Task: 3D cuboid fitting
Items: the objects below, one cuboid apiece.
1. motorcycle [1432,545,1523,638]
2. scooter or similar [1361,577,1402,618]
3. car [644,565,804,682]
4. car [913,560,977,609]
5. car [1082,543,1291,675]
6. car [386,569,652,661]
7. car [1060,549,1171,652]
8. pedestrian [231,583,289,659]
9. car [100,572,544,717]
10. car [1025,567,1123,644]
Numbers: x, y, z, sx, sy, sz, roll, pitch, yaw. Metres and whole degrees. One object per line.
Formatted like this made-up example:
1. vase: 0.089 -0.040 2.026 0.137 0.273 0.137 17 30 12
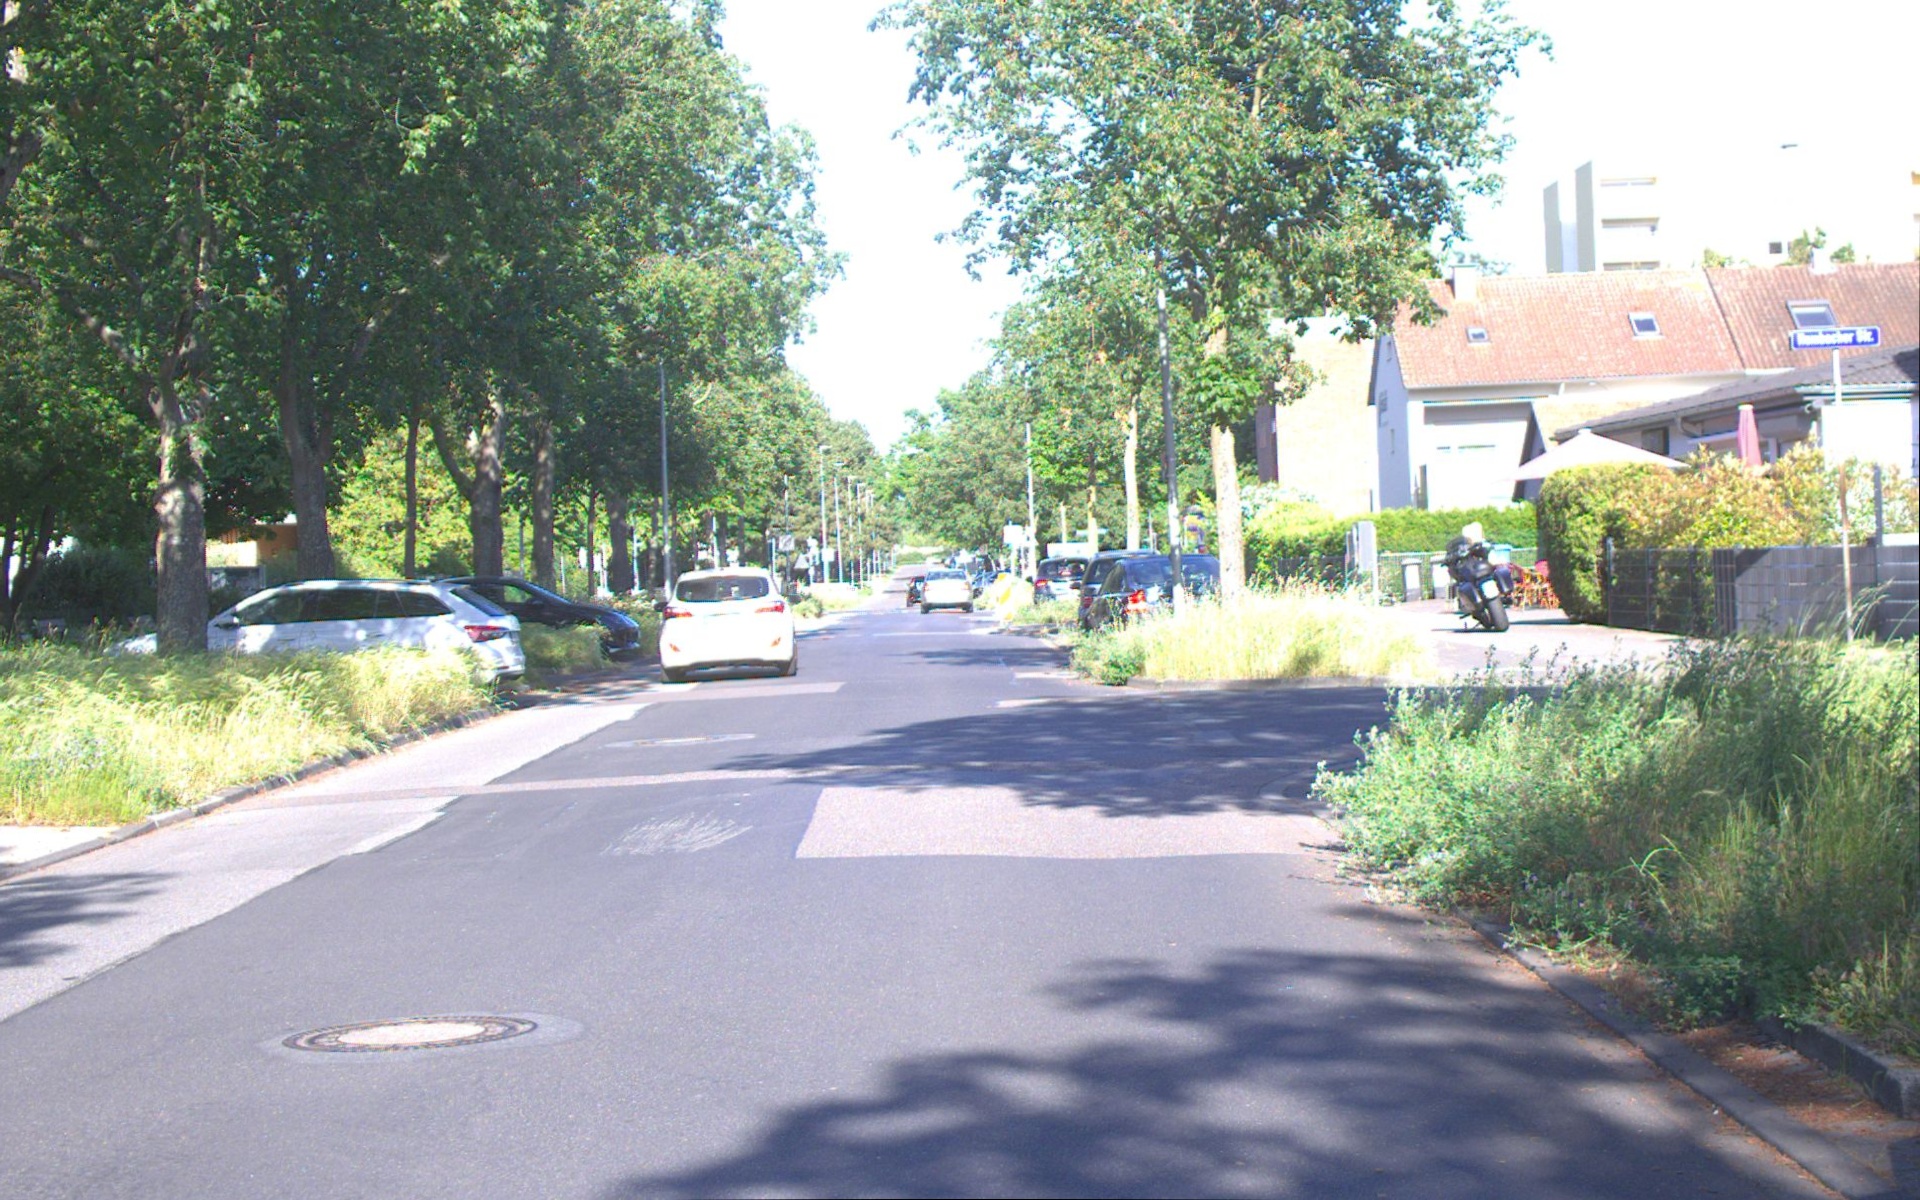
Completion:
1. motorcycle: 7.157 -0.131 47.649 0.818 1.223 2.352 -3 1 -1
2. scooter or similar: 8.906 -0.048 72.676 0.368 0.855 1.412 -1 0 -14
3. car: -3.152 0.283 46.671 1.993 1.450 4.225 -2 1 -2
4. car: -0.497 -0.501 111.803 1.993 1.503 3.658 1 0 0
5. car: 2.941 0.104 45.622 1.993 1.616 4.382 1 0 -6
6. car: -7.558 0.254 59.186 4.367 1.526 1.808 0 0 -1
7. car: 2.557 -0.001 57.219 1.610 1.616 4.382 1 0 0
8. pedestrian: -16.926 0.512 83.111 1.224 1.821 1.551 0 0 -17
9. car: -7.259 0.491 39.440 4.671 1.498 2.000 -1 0 1
10. car: 2.761 0.141 84.260 1.993 1.722 4.000 -4 0 -3
